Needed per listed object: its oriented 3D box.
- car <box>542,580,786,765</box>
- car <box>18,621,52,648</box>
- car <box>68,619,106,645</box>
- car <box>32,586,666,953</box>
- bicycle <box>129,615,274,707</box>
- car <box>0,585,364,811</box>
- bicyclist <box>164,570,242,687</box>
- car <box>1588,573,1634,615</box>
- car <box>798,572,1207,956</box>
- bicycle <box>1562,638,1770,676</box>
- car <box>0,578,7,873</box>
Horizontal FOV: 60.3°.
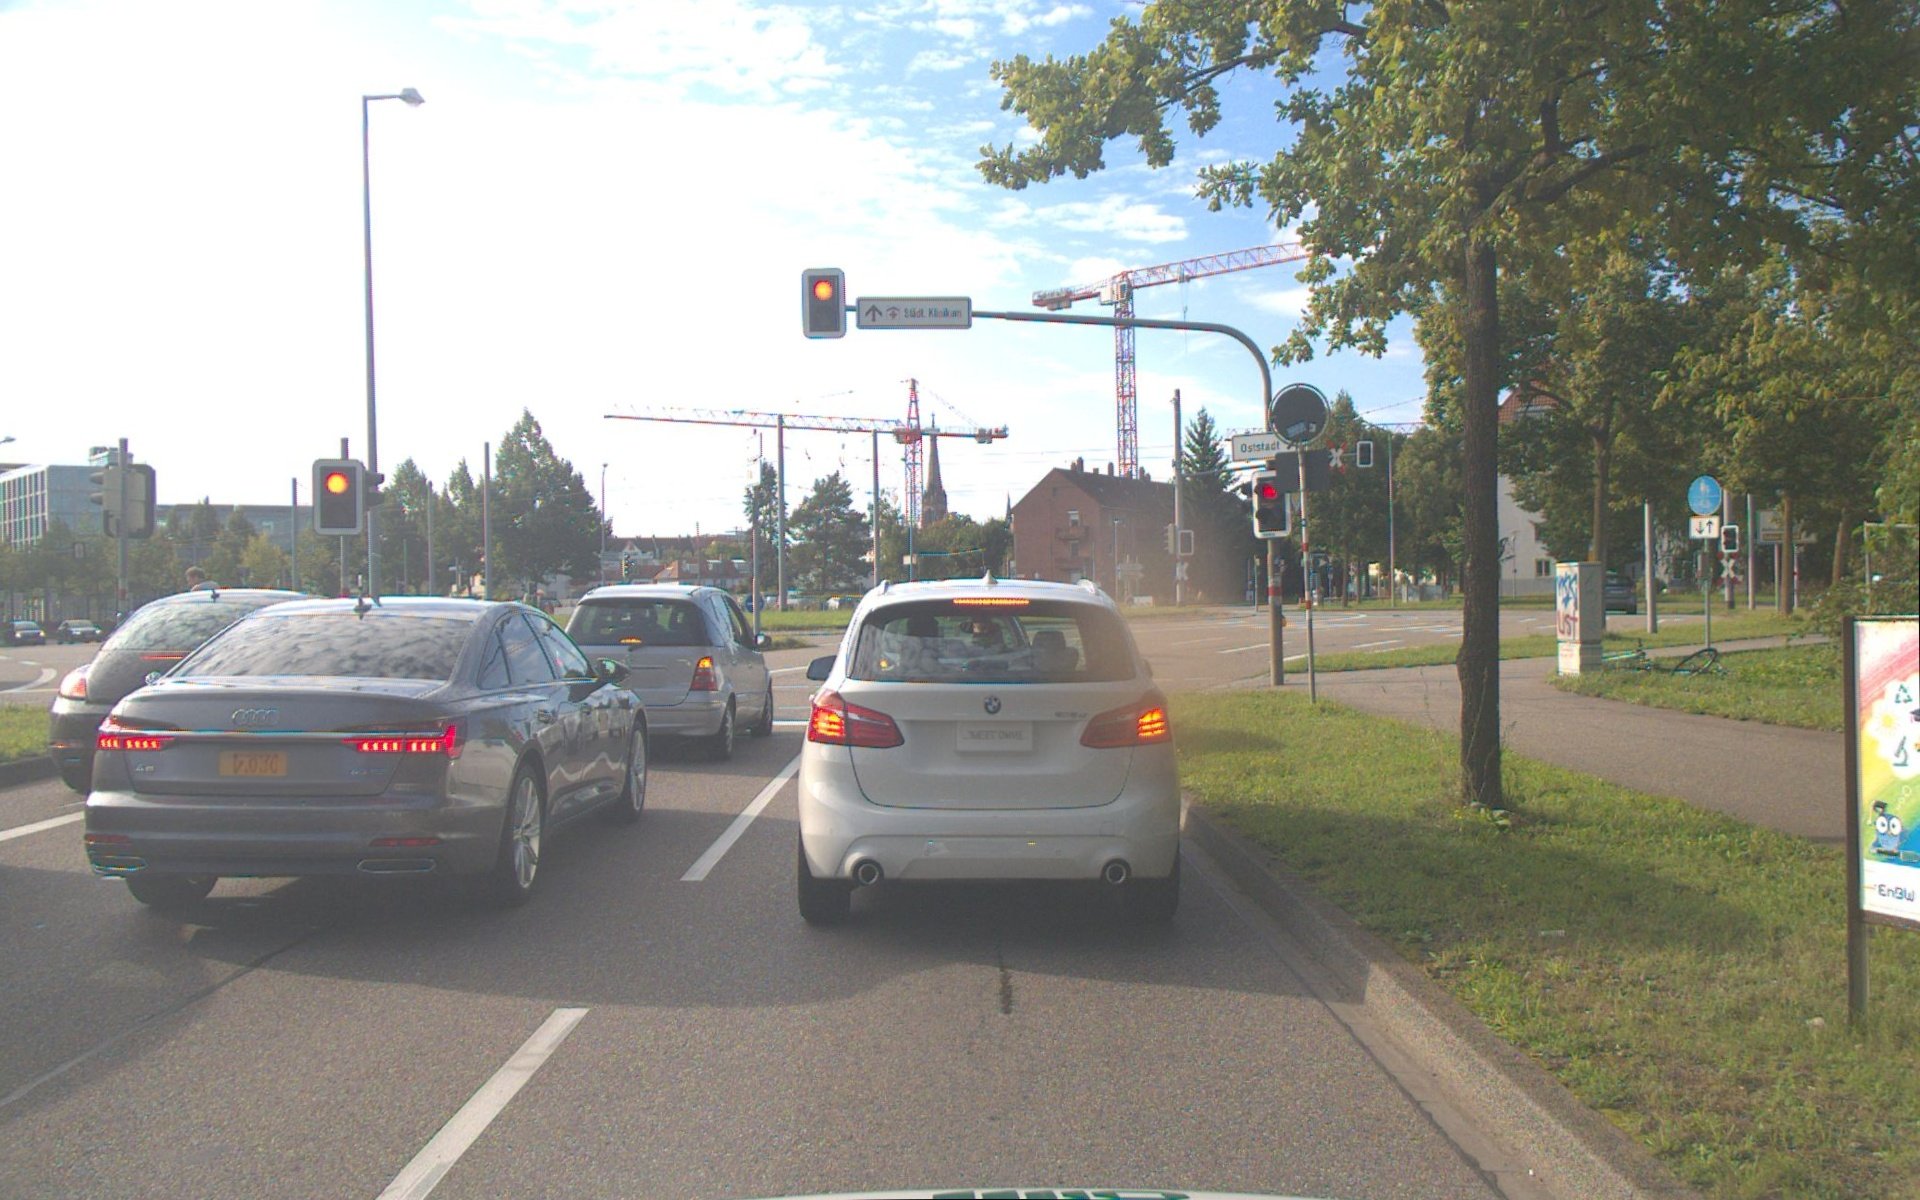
[{"bbox_3d":[-2.759,0.615,16.268,1.694,1.585,4.057,0,0,-1],"label":"car"},{"bbox_3d":[-54.587,2.060,97.651,1.574,1.439,3.636,-3,0,-28],"label":"car"},{"bbox_3d":[-53.337,1.921,101.023,1.601,1.490,3.686,-1,1,-34],"label":"car"},{"bbox_3d":[-2.924,0.707,9.130,1.851,1.509,4.612,0,0,-1],"label":"car"},{"bbox_3d":[-10.311,0.812,22.528,1.698,1.184,0.653,-1,0,-17],"label":"bicycle"},{"bbox_3d":[-6.261,0.671,13.266,1.646,1.549,3.809,0,0,-1],"label":"car"},{"bbox_3d":[-10.300,0.381,22.535,0.835,1.553,0.737,-1,0,-17],"label":"bicyclist"},{"bbox_3d":[25.504,-0.260,64.861,1.537,1.601,3.200,0,1,19],"label":"car"},{"bbox_3d":[0.144,0.671,8.884,1.694,1.585,4.057,0,0,-1],"label":"car"},{"bbox_3d":[9.481,0.750,22.372,1.382,0.392,2.569,-1,0,-12],"label":"bicycle"},{"bbox_3d":[-6.004,0.678,6.944,1.694,1.586,4.018,0,0,-1],"label":"car"}]
